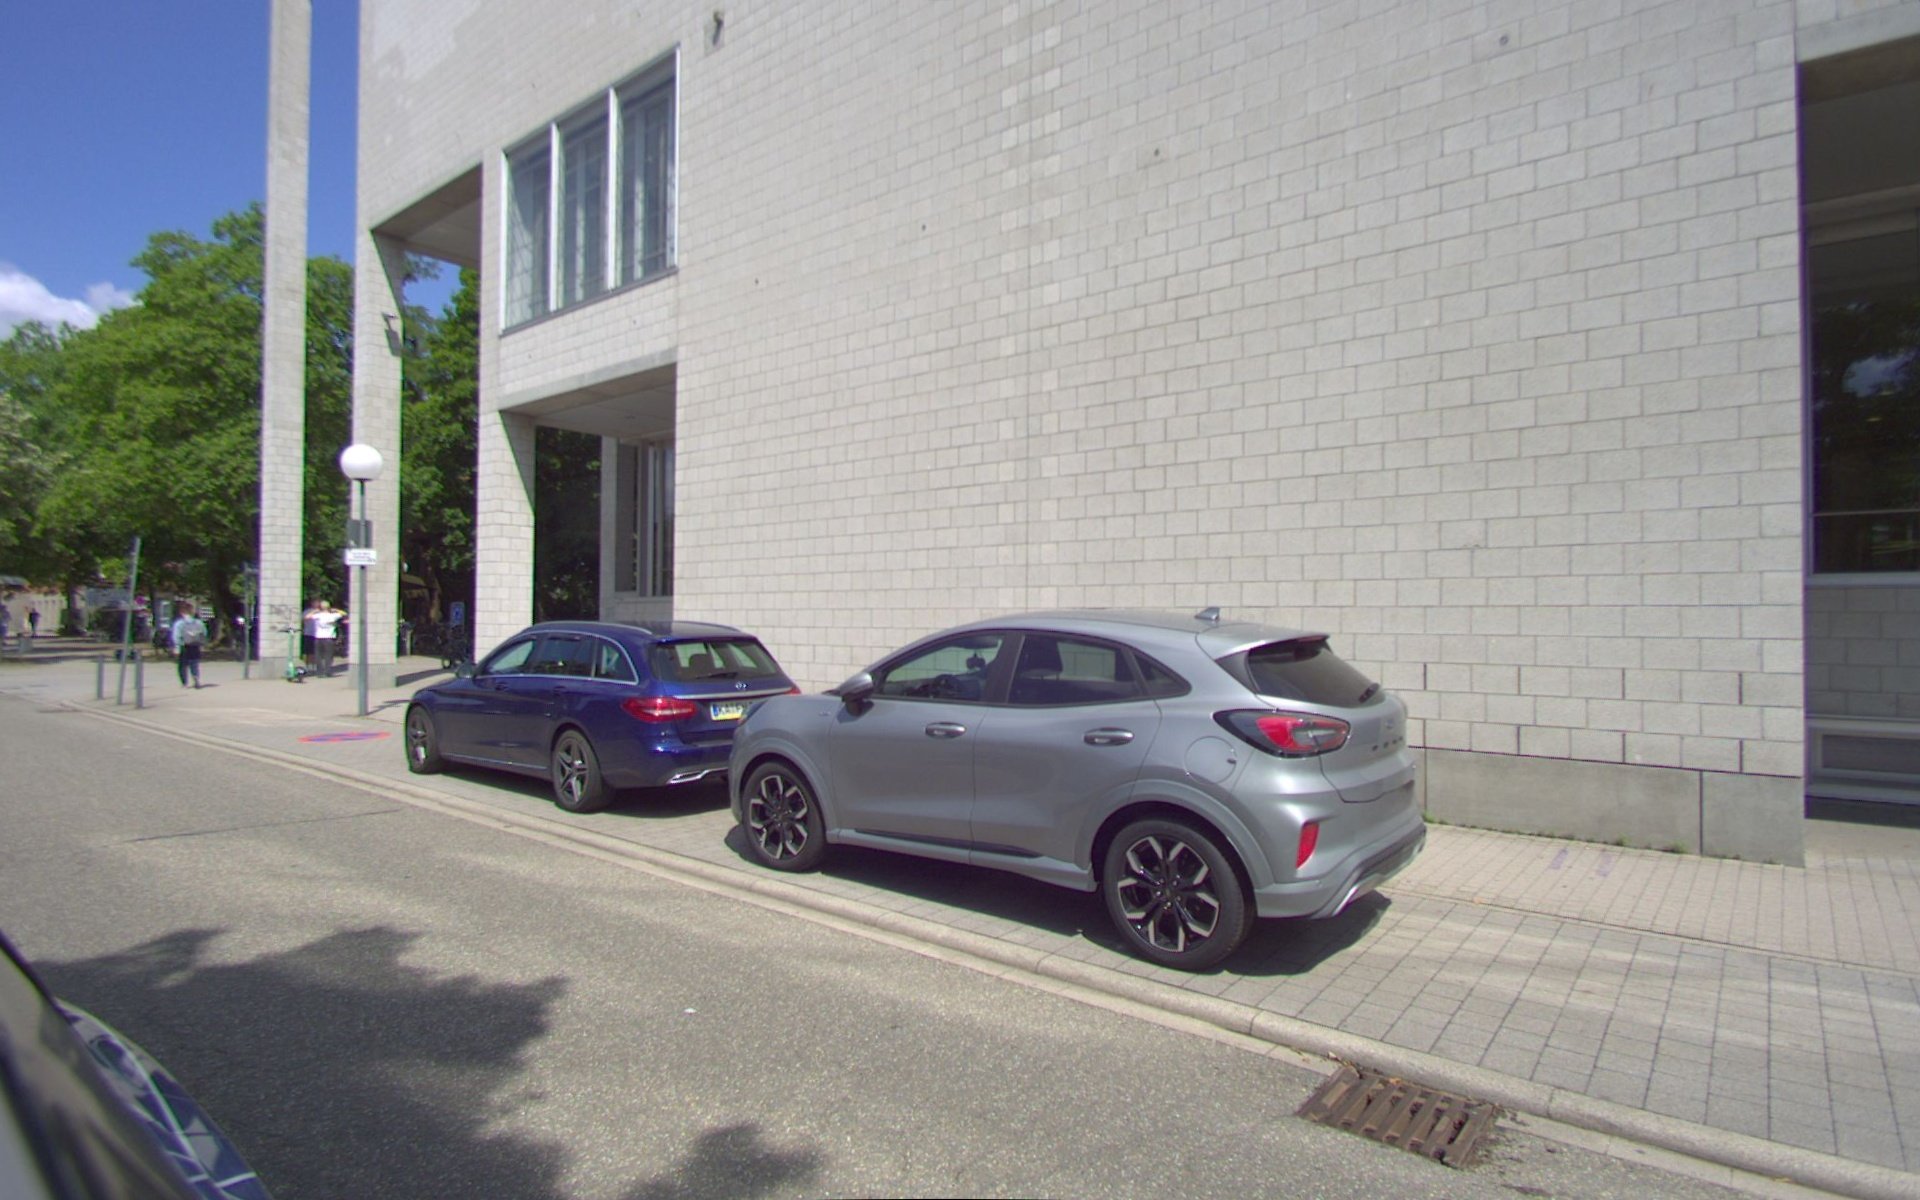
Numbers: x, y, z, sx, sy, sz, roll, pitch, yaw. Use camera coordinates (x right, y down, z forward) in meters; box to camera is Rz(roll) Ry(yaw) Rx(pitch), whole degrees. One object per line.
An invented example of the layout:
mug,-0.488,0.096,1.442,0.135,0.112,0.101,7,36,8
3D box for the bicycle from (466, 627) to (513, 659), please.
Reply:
bicycle,-16.623,1.514,35.722,2.172,1.066,0.614,0,-1,39

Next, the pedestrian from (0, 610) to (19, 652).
pedestrian,-42.547,1.352,44.583,1.368,1.838,1.383,-1,-1,39

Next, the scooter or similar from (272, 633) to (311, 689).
scooter or similar,-14.390,1.294,21.773,1.311,1.153,0.314,-1,-1,39

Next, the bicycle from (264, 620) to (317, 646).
bicycle,-30.086,1.477,45.541,0.744,1.115,2.118,0,-1,9

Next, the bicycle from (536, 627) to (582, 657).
bicycle,-14.988,1.550,37.773,2.172,1.066,0.614,0,-1,39

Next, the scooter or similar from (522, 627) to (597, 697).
scooter or similar,-7.235,1.109,18.310,1.196,1.241,0.402,0,-1,-10

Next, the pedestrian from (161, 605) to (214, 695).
pedestrian,-15.698,0.986,20.559,0.750,1.738,1.237,-2,1,-40

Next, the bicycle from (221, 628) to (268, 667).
bicycle,-21.345,1.390,30.177,1.997,1.115,0.502,-1,-1,35

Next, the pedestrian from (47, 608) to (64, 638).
pedestrian,-52.387,1.330,58.626,0.815,1.683,0.669,-1,-1,45

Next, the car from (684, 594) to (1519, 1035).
car,0.488,0.756,5.664,4.402,1.546,1.709,0,1,40

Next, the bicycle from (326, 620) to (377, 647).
bicycle,-27.005,1.472,44.972,0.744,1.115,2.118,0,-1,9

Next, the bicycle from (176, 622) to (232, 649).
bicycle,-34.771,1.613,46.577,0.744,1.166,2.118,0,-1,9

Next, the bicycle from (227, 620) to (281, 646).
bicycle,-32.023,1.481,45.957,0.744,1.115,2.118,0,-1,9

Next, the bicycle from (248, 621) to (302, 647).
bicycle,-30.913,1.515,45.711,0.744,1.115,2.118,0,-1,9

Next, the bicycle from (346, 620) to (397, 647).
bicycle,-25.980,1.469,44.716,0.744,1.115,2.118,0,-1,9

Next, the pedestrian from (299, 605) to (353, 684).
pedestrian,-14.792,1.017,23.610,1.080,1.794,0.745,-1,-1,39

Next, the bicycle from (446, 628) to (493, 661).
bicycle,-17.096,1.539,35.243,2.122,1.066,0.614,0,-1,39

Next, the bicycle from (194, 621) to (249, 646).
bicycle,-33.836,1.517,46.389,0.744,1.115,2.118,0,-1,9

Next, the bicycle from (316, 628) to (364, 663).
bicycle,-19.762,1.429,32.229,2.122,1.066,0.614,0,-1,39

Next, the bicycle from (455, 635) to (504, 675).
bicycle,-13.029,1.468,27.436,1.965,0.993,0.510,-1,-1,43

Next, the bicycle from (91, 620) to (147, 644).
bicycle,-39.408,1.506,47.446,0.615,1.066,2.118,0,-1,9

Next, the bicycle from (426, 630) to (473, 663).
bicycle,-17.510,1.574,34.681,2.122,1.066,0.614,0,-1,39

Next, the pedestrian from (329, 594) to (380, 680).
pedestrian,-14.752,0.889,24.657,1.080,2.029,0.745,-1,-1,39

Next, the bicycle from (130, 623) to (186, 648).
bicycle,-37.221,1.635,47.012,0.675,1.066,2.118,0,-1,9

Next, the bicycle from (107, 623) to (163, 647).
bicycle,-38.700,1.649,47.510,0.675,1.066,2.118,0,-1,9

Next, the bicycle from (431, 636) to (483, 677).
bicycle,-13.428,1.486,27.005,1.965,0.993,0.588,-1,-1,43

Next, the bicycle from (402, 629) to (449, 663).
bicycle,-18.131,1.540,34.328,2.122,1.066,0.614,0,-1,39

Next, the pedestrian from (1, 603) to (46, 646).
pedestrian,-45.379,1.176,49.037,1.368,2.029,1.383,-1,-1,39

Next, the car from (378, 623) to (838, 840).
car,-3.311,0.938,8.989,4.660,1.433,1.709,-1,-1,40

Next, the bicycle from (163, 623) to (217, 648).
bicycle,-35.511,1.619,46.711,0.675,1.115,2.118,0,-1,9

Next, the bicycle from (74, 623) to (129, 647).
bicycle,-40.699,1.662,48.005,0.615,1.066,2.118,0,-1,9

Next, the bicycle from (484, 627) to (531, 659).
bicycle,-16.191,1.519,36.219,2.172,1.066,0.614,0,-1,39

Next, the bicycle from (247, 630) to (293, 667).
bicycle,-20.952,1.461,30.717,2.122,1.066,0.584,0,-1,39

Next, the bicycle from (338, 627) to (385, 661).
bicycle,-19.382,1.408,32.752,2.122,1.066,0.614,0,-1,39

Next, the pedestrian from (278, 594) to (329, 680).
pedestrian,-15.870,0.888,24.466,1.080,2.029,0.745,-1,-1,39

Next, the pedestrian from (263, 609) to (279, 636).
pedestrian,-38.748,1.251,56.898,0.500,1.543,0.583,0,-1,18

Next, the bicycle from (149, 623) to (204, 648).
bicycle,-36.246,1.623,46.826,0.675,1.115,2.118,0,-1,9

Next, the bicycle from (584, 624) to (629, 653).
bicycle,-13.752,1.478,39.355,2.172,1.066,0.614,0,-1,39

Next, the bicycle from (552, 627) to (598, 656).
bicycle,-14.580,1.554,38.302,2.172,1.066,0.614,0,-1,39

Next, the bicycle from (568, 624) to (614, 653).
bicycle,-14.160,1.476,38.832,2.172,1.066,0.614,0,-1,39

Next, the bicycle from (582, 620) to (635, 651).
bicycle,-15.483,1.568,44.583,2.147,1.343,0.622,0,-1,5

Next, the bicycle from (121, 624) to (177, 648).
bicycle,-37.980,1.655,47.419,0.675,1.066,2.118,0,-1,9

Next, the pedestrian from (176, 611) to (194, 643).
pedestrian,-41.906,1.457,54.708,0.745,1.683,0.824,0,-1,-37

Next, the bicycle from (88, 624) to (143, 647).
bicycle,-39.933,1.661,47.865,0.615,1.066,2.118,0,-1,9

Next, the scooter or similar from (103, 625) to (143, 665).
scooter or similar,-26.634,1.428,32.221,0.702,1.200,1.620,1,0,-29

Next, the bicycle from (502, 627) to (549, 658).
bicycle,-15.794,1.541,36.745,2.172,1.066,0.614,0,-1,39
